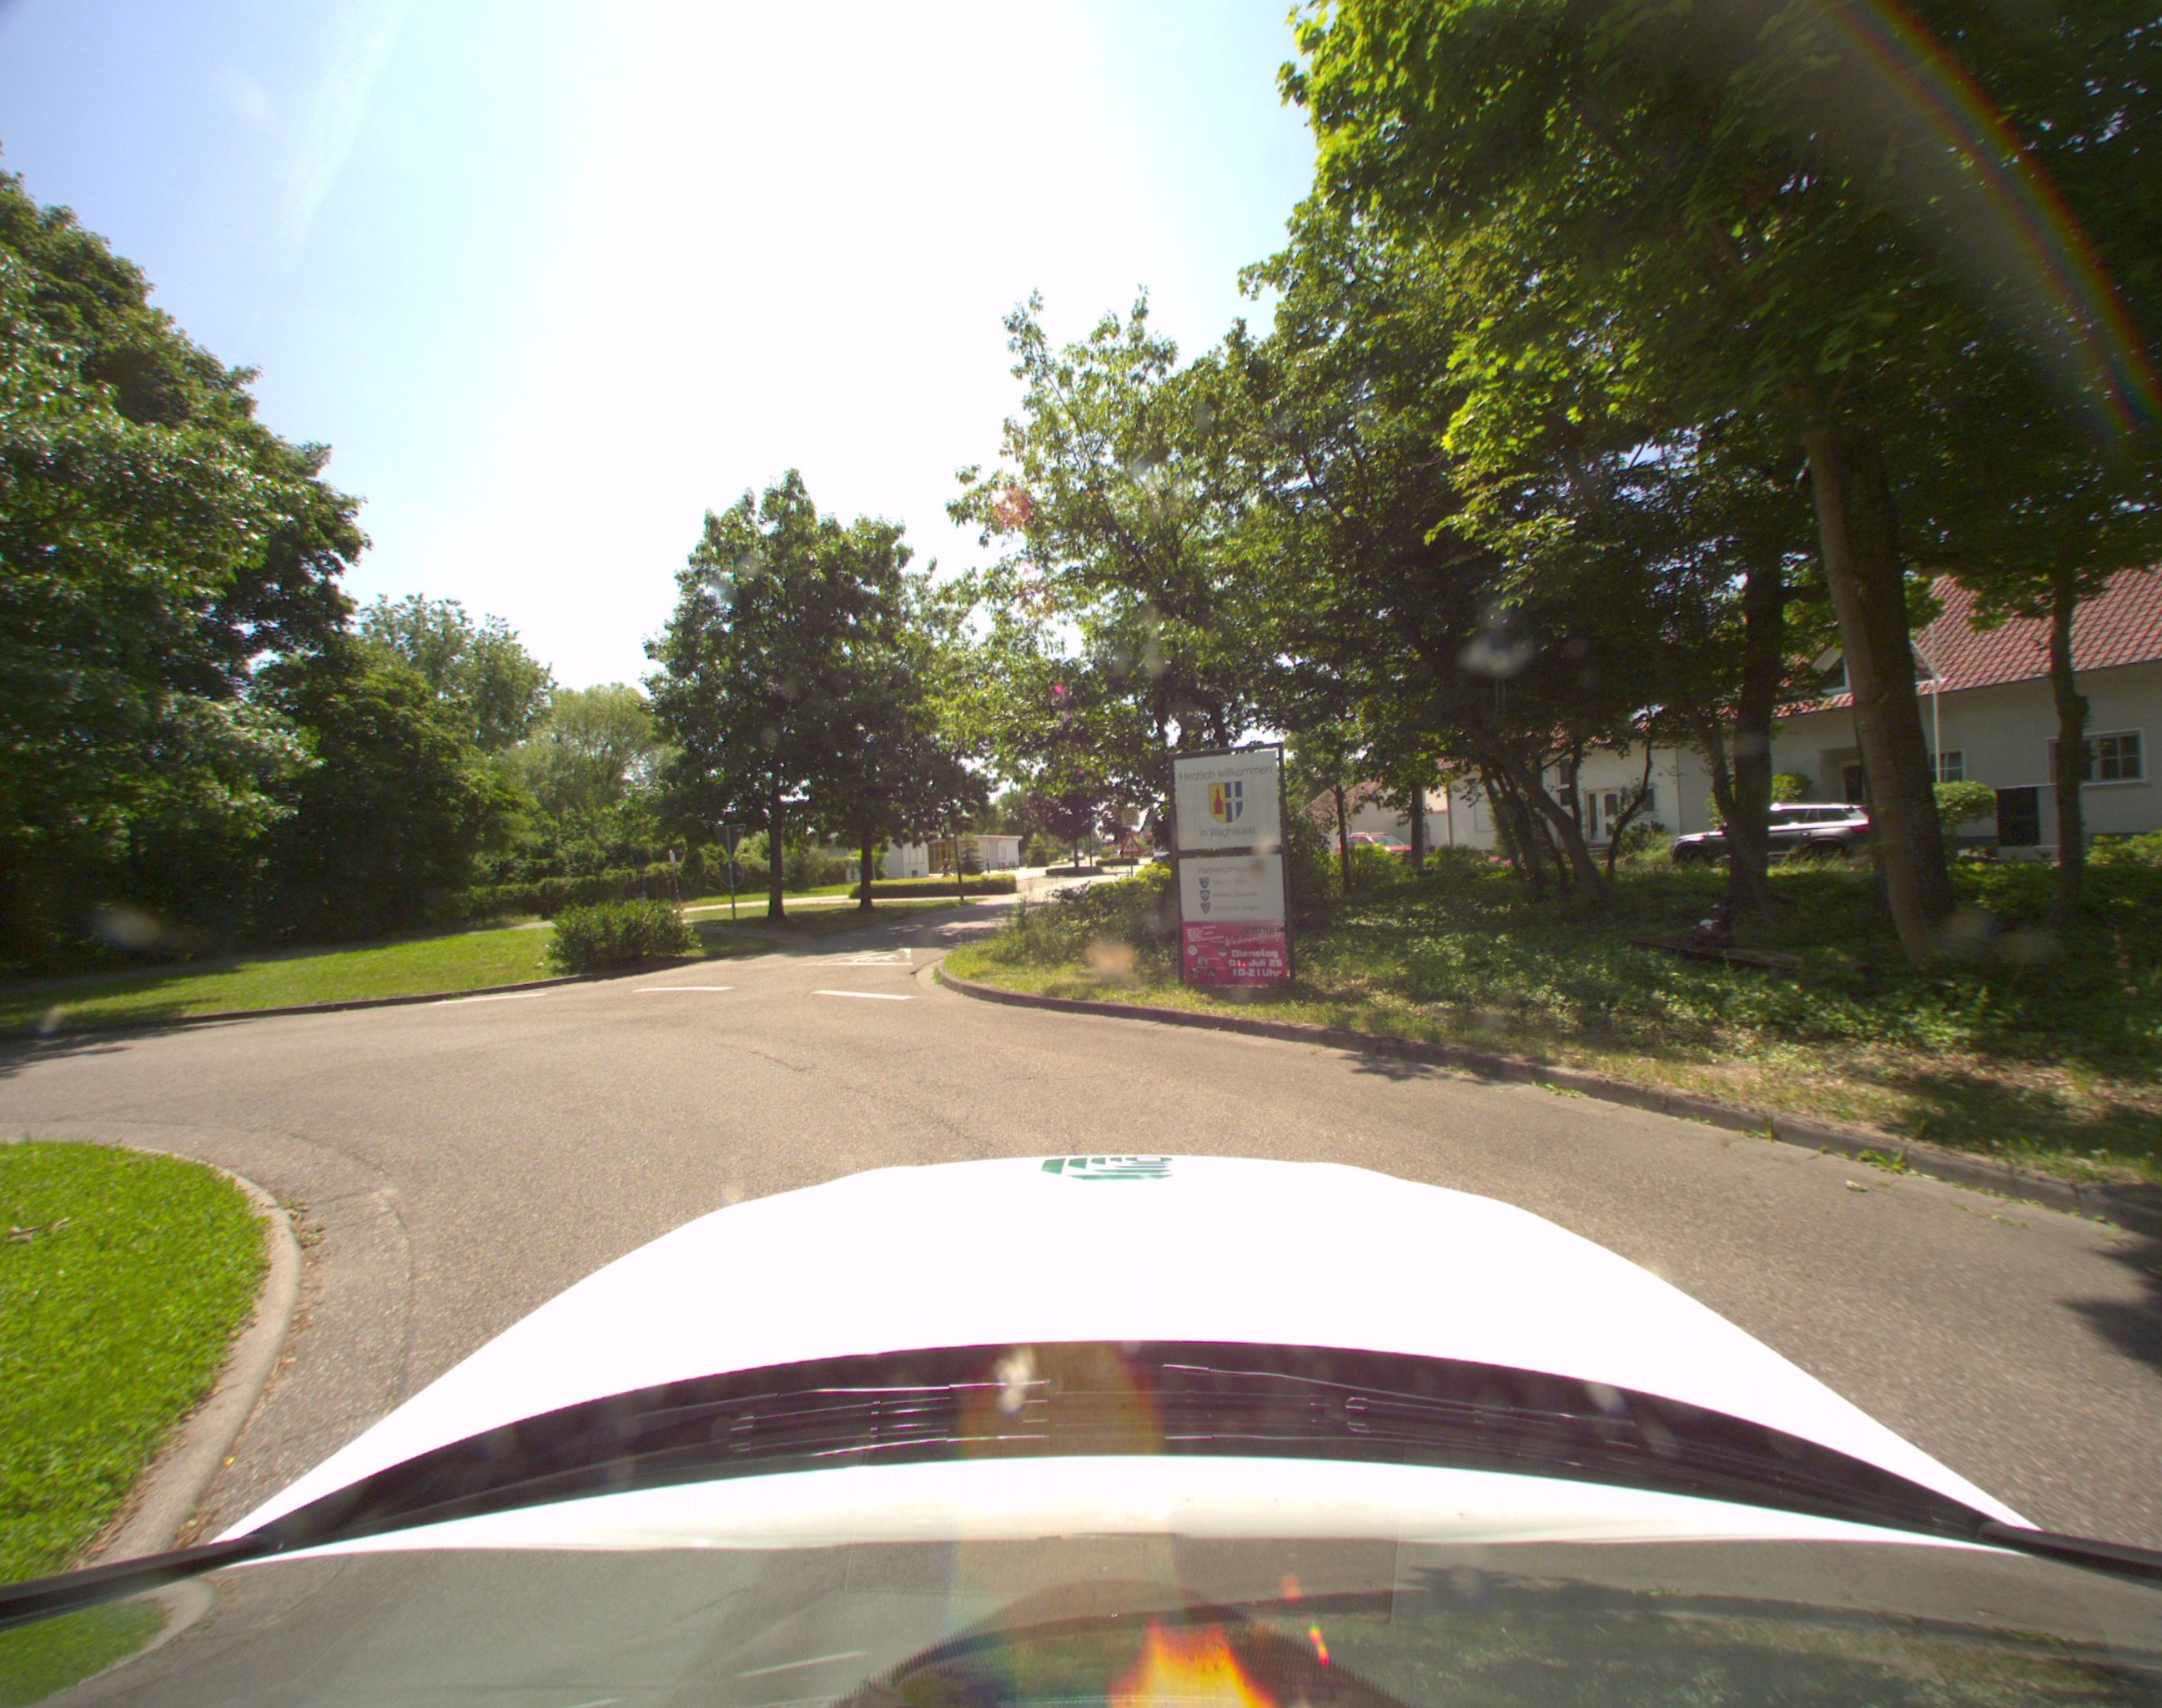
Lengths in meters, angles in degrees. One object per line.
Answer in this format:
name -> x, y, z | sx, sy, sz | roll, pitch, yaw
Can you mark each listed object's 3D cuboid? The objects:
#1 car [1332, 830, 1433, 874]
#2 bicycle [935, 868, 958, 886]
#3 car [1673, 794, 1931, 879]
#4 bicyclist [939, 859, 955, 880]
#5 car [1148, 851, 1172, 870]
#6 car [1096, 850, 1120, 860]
car -> 12.107, -0.047, 32.965 | 1.665, 1.601, 4.002 | -3, 0, -18
bicycle -> -7.444, 1.263, 45.193 | 0.592, 0.929, 1.627 | -3, 0, 15
car -> 16.428, -0.335, 18.840 | 1.667, 1.705, 4.112 | -3, 0, -22
bicyclist -> -7.450, 0.856, 45.266 | 0.592, 1.164, 0.651 | -3, 0, 15
car -> 5.975, 0.442, 61.412 | 1.606, 1.288, 3.564 | -3, 0, 7
car -> 3.810, 0.126, 114.820 | 2.000, 1.288, 3.974 | -3, 0, -19
